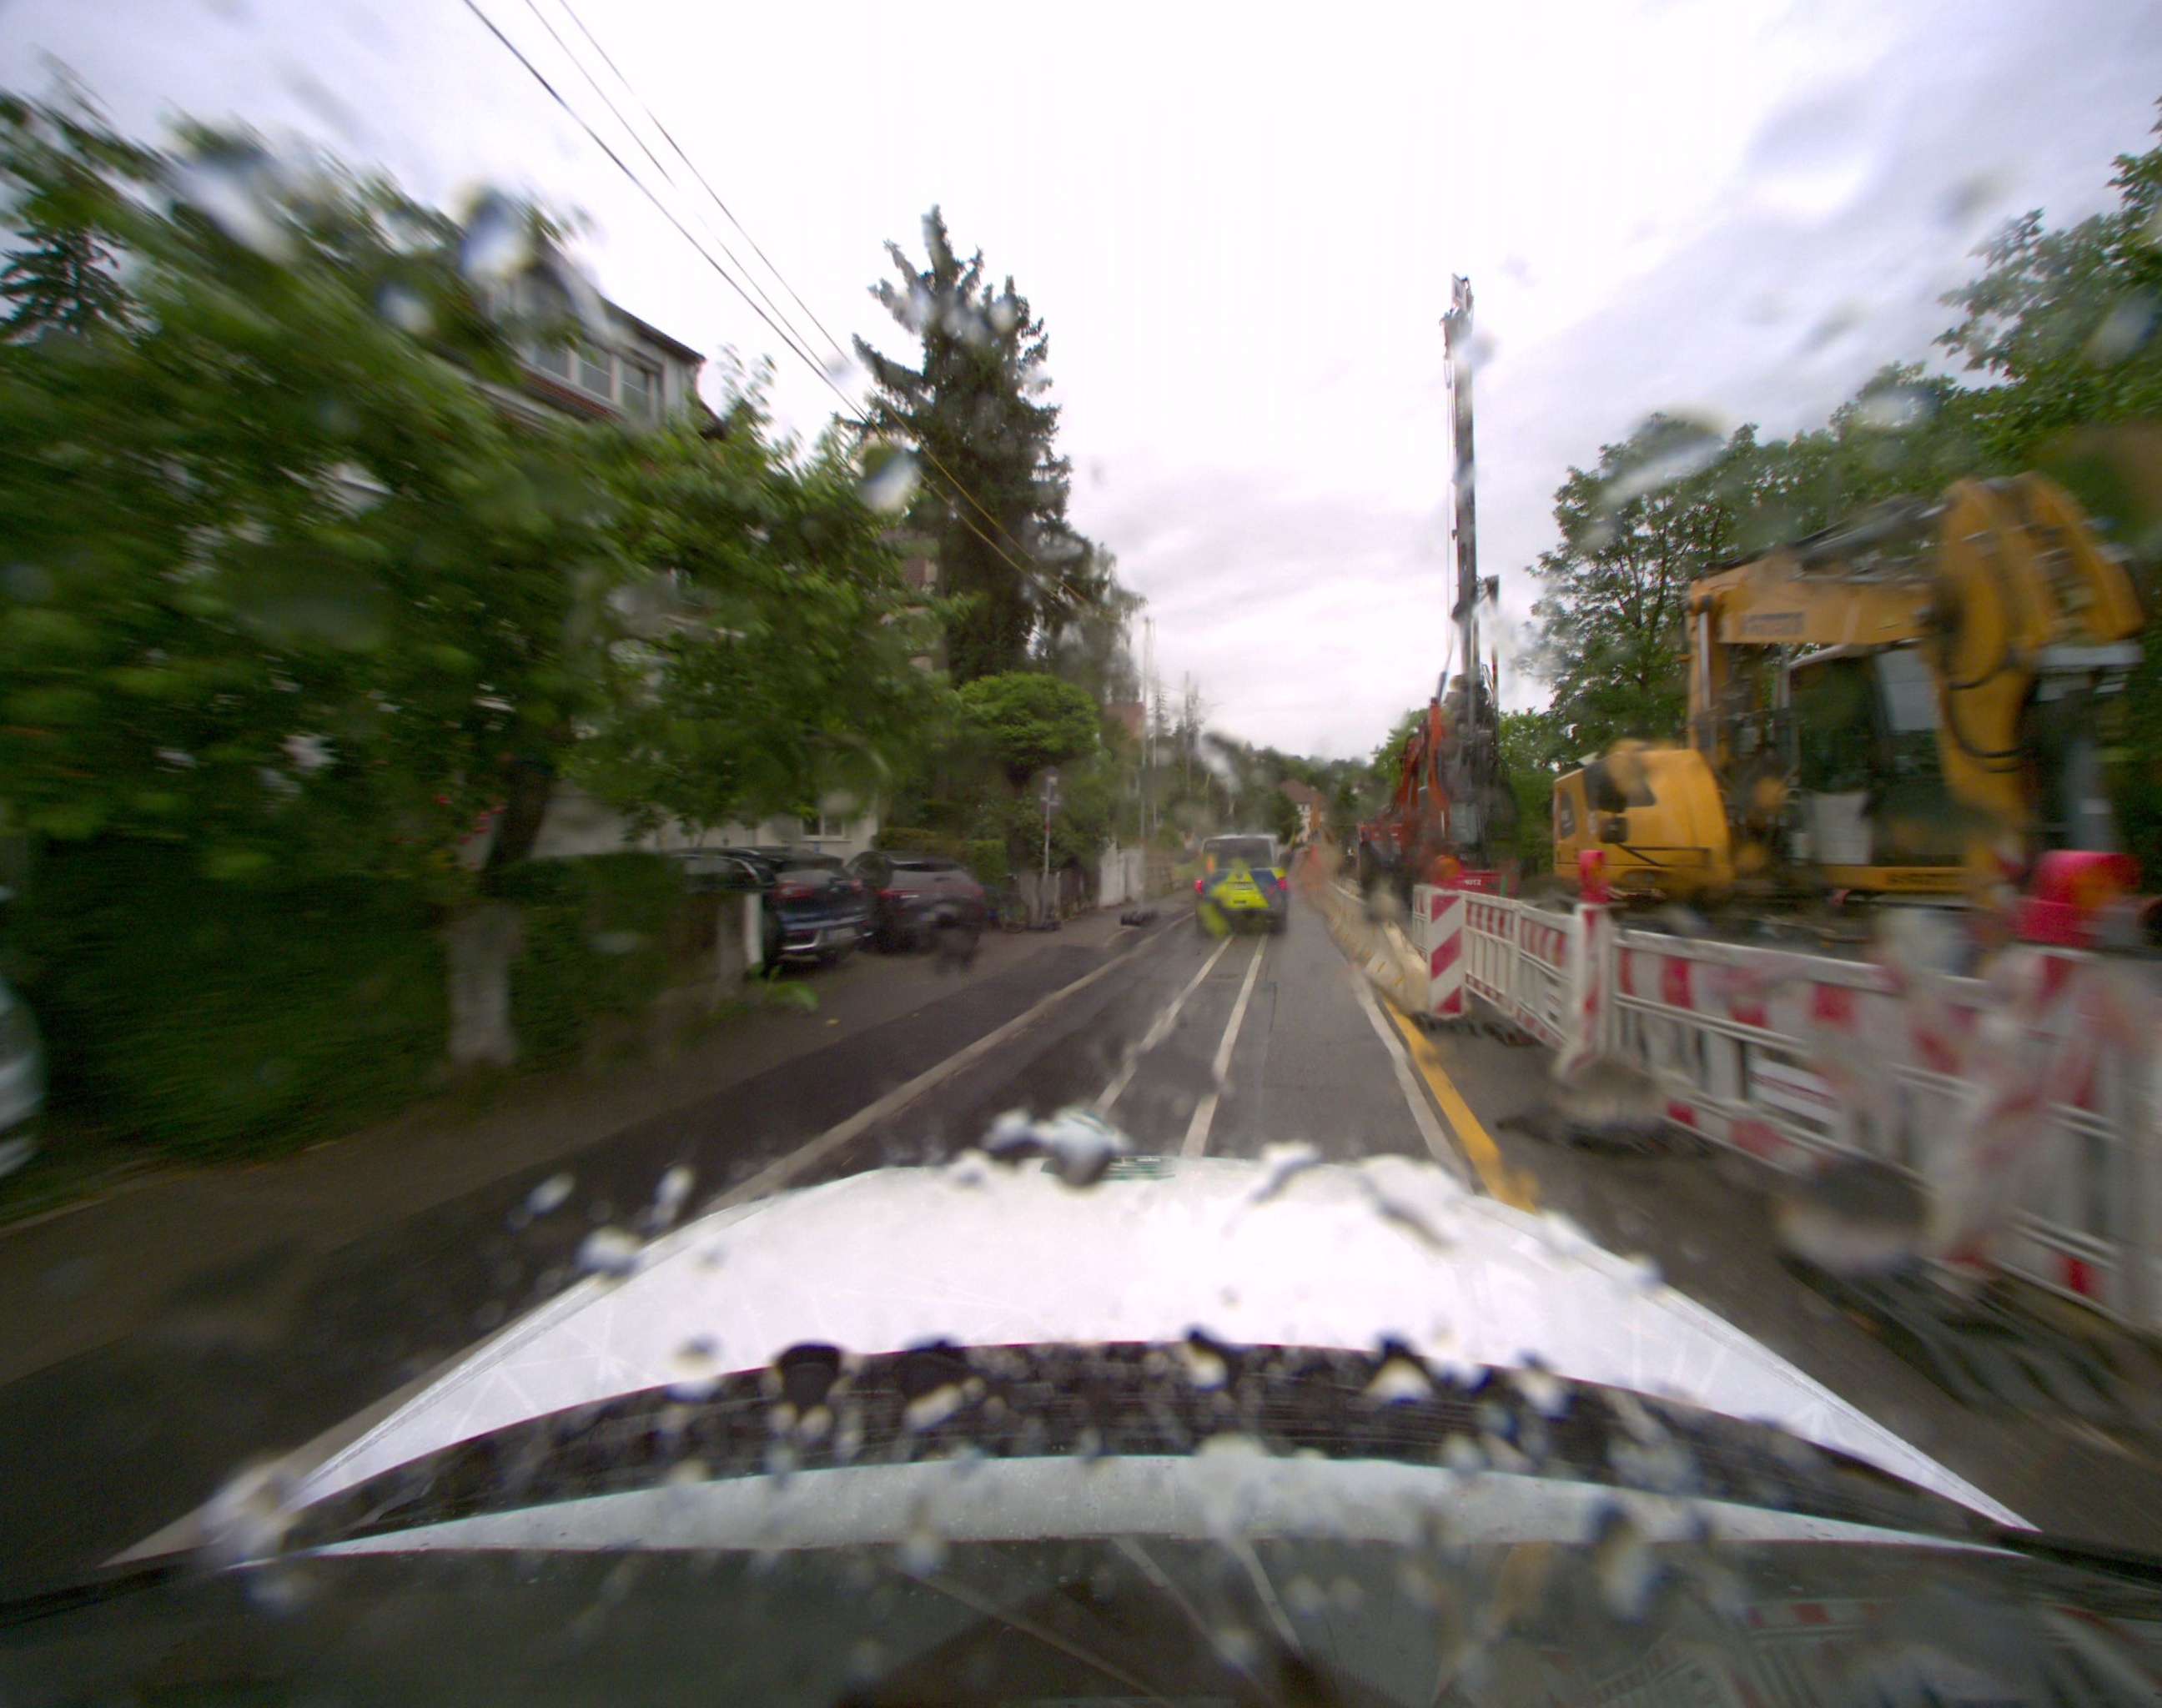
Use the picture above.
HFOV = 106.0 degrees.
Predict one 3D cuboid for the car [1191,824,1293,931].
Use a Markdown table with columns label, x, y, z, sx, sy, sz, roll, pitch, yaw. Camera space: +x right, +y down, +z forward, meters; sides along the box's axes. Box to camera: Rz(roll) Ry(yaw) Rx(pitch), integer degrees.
| label | x | y | z | sx | sy | sz | roll | pitch | yaw |
| --- | --- | --- | --- | --- | --- | --- | --- | --- | --- |
| car | 3.606 | 0.463 | 17.781 | 1.894 | 2.010 | 4.455 | 0 | -1 | 14 |

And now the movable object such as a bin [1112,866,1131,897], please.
| label | x | y | z | sx | sy | sz | roll | pitch | yaw |
| --- | --- | --- | --- | --- | --- | --- | --- | --- | --- |
| movable object such as a bin | 1.282 | 0.867 | 25.799 | 0.503 | 0.965 | 0.500 | 0 | -1 | 14 |

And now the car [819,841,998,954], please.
| label | x | y | z | sx | sy | sz | roll | pitch | yaw |
| --- | --- | --- | --- | --- | --- | --- | --- | --- | --- |
| car | -2.941 | 0.594 | 13.222 | 1.791 | 1.525 | 3.964 | 1 | 0 | -28 |

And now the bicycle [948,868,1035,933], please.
| label | x | y | z | sx | sy | sz | roll | pitch | yaw |
| --- | --- | --- | --- | --- | --- | --- | --- | --- | --- |
| bicycle | -1.671 | 0.839 | 15.051 | 1.603 | 1.131 | 0.446 | 0 | -1 | 28 |

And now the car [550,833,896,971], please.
| label | x | y | z | sx | sy | sz | roll | pitch | yaw |
| --- | --- | --- | --- | --- | --- | --- | --- | --- | --- |
| car | -4.672 | 0.530 | 10.690 | 3.951 | 1.525 | 1.951 | 0 | -1 | 23 |

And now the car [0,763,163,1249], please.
| label | x | y | z | sx | sy | sz | roll | pitch | yaw |
| --- | --- | --- | --- | --- | --- | --- | --- | --- | --- |
| car | -6.357 | 0.254 | 3.443 | 4.921 | 1.615 | 1.874 | 11 | 5 | 24 |

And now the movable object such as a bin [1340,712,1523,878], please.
| label | x | y | z | sx | sy | sz | roll | pitch | yaw |
| --- | --- | --- | --- | --- | --- | --- | --- | --- | --- |
| movable object such as a bin | 12.531 | -1.778 | 28.772 | 3.647 | 5.066 | 7.206 | -2 | -2 | 42 |

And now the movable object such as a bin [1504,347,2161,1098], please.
| label | x | y | z | sx | sy | sz | roll | pitch | yaw |
| --- | --- | --- | --- | --- | --- | --- | --- | --- | --- |
| movable object such as a bin | 5.696 | -0.732 | 6.976 | 2.856 | 4.170 | 4.508 | -1 | 0 | 17 |

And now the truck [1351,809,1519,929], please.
| label | x | y | z | sx | sy | sz | roll | pitch | yaw |
| --- | --- | --- | --- | --- | --- | --- | --- | --- | --- |
| truck | 6.883 | 0.308 | 16.286 | 2.532 | 2.108 | 3.316 | -2 | -1 | 14 |
